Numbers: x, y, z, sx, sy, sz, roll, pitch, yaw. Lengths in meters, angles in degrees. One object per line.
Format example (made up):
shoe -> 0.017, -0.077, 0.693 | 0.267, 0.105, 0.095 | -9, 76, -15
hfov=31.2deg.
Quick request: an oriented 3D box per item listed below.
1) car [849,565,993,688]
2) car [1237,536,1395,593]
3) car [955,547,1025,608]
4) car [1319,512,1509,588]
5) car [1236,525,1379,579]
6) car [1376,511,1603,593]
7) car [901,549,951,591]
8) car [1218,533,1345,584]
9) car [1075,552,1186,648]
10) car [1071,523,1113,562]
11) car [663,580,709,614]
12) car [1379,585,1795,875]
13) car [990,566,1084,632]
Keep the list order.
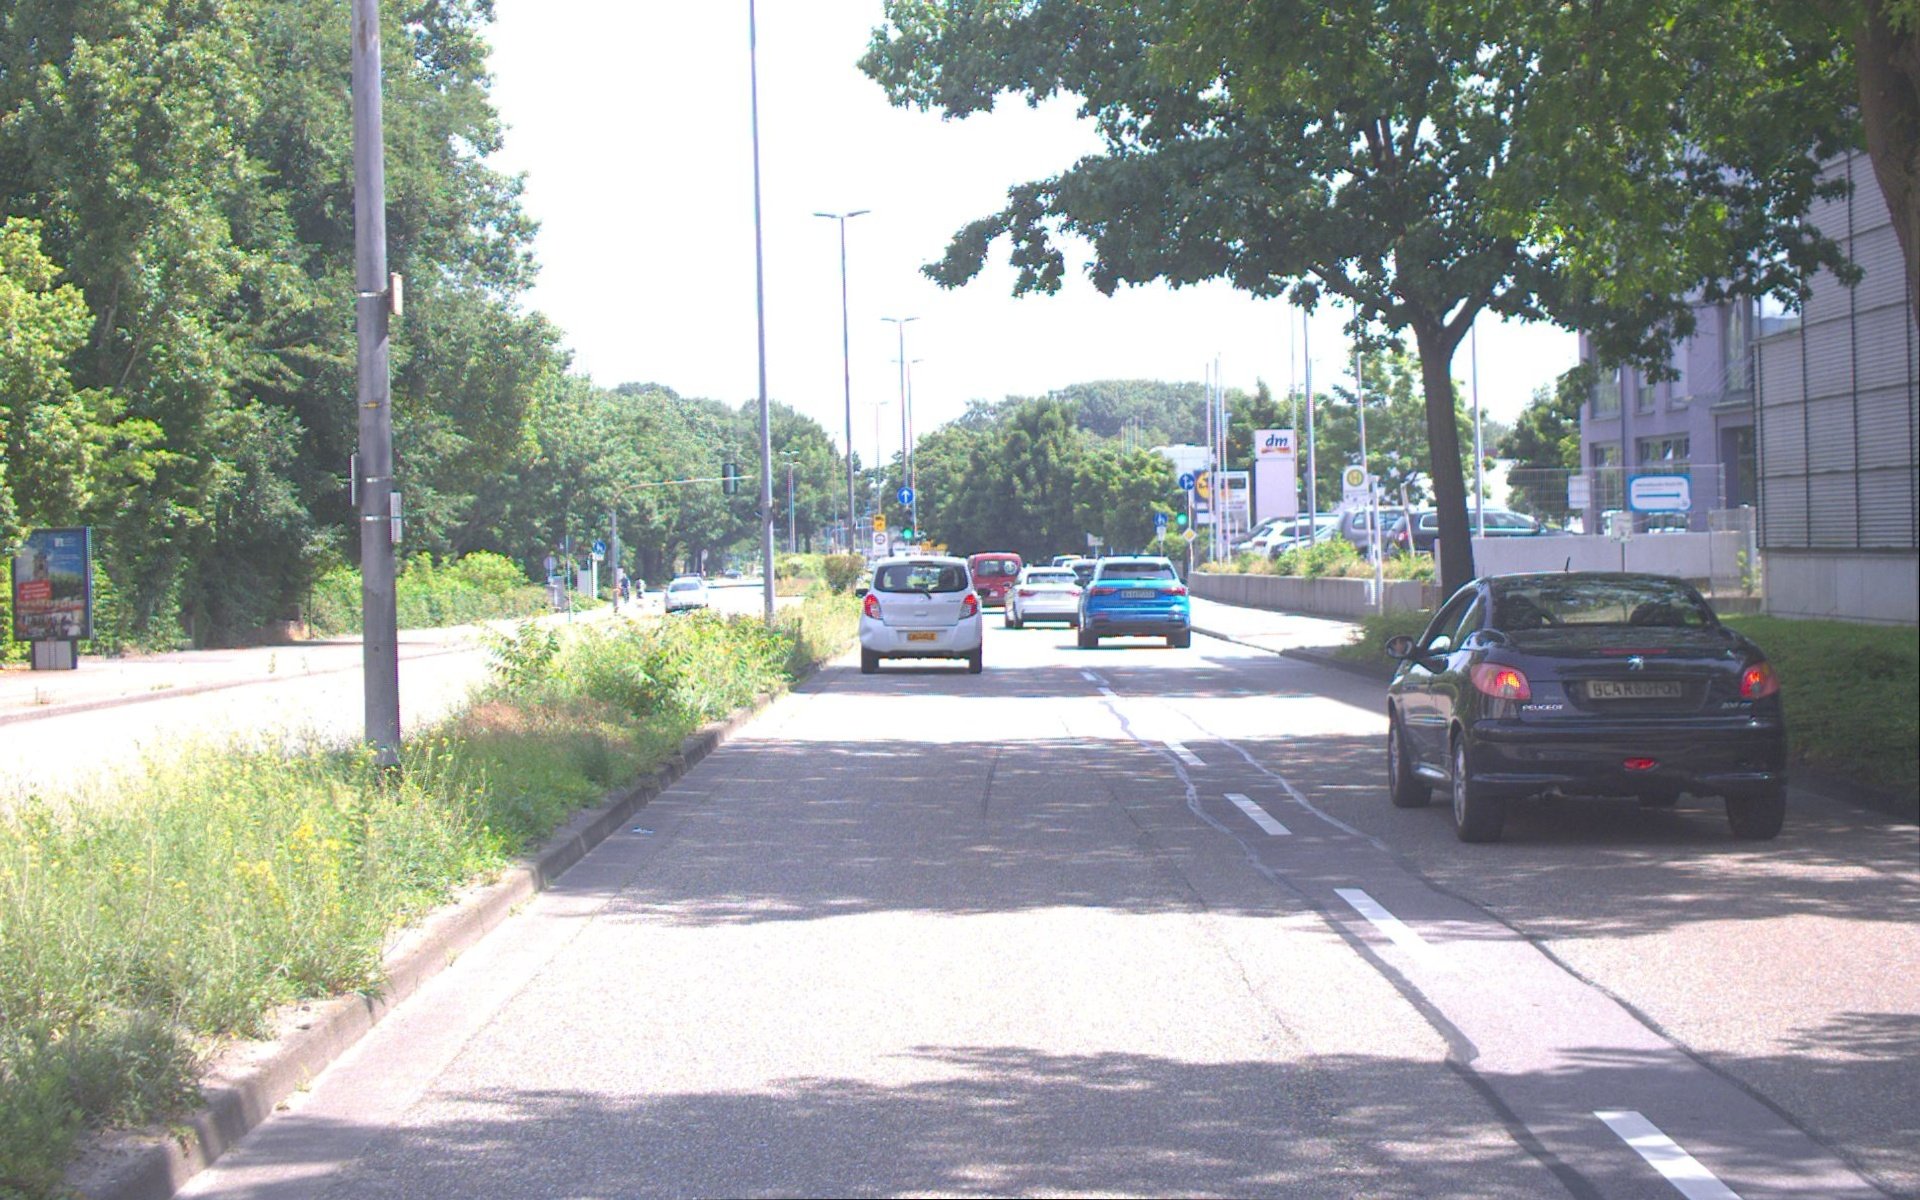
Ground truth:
car -> -0.484, 0.321, 45.955 | 1.748, 1.515, 3.745 | -2, 1, 1
car -> 10.830, -1.085, 104.825 | 4.535, 1.539, 2.000 | -2, 0, 0
car -> 0.880, -0.662, 102.375 | 1.776, 1.734, 4.000 | -2, 0, -3
car -> 10.914, -1.189, 82.857 | 4.227, 1.641, 2.000 | -2, 0, 0
car -> 11.278, -1.558, 111.763 | 4.346, 1.539, 2.000 | -2, 0, -2
car -> 11.385, -1.025, 74.119 | 4.499, 1.577, 2.000 | -2, 0, 0
car -> -1.451, -1.262, 145.370 | 1.819, 1.656, 4.001 | -2, 2, -4
car -> 10.812, -1.399, 115.729 | 3.987, 1.539, 2.000 | -2, 0, -2
car -> 2.951, 0.012, 59.697 | 1.828, 1.575, 3.605 | -1, -1, 3
car -> 7.060, -3.095, 184.348 | 1.769, 2.007, 3.991 | -2, 1, -3
car -> -12.002, -0.127, 150.914 | 1.736, 1.408, 4.372 | -2, 0, -2
car -> 3.294, 0.629, 18.667 | 1.627, 1.359, 3.605 | 0, 1, 1
car -> 1.753, -0.035, 79.581 | 1.993, 1.437, 4.000 | -2, 0, -1
